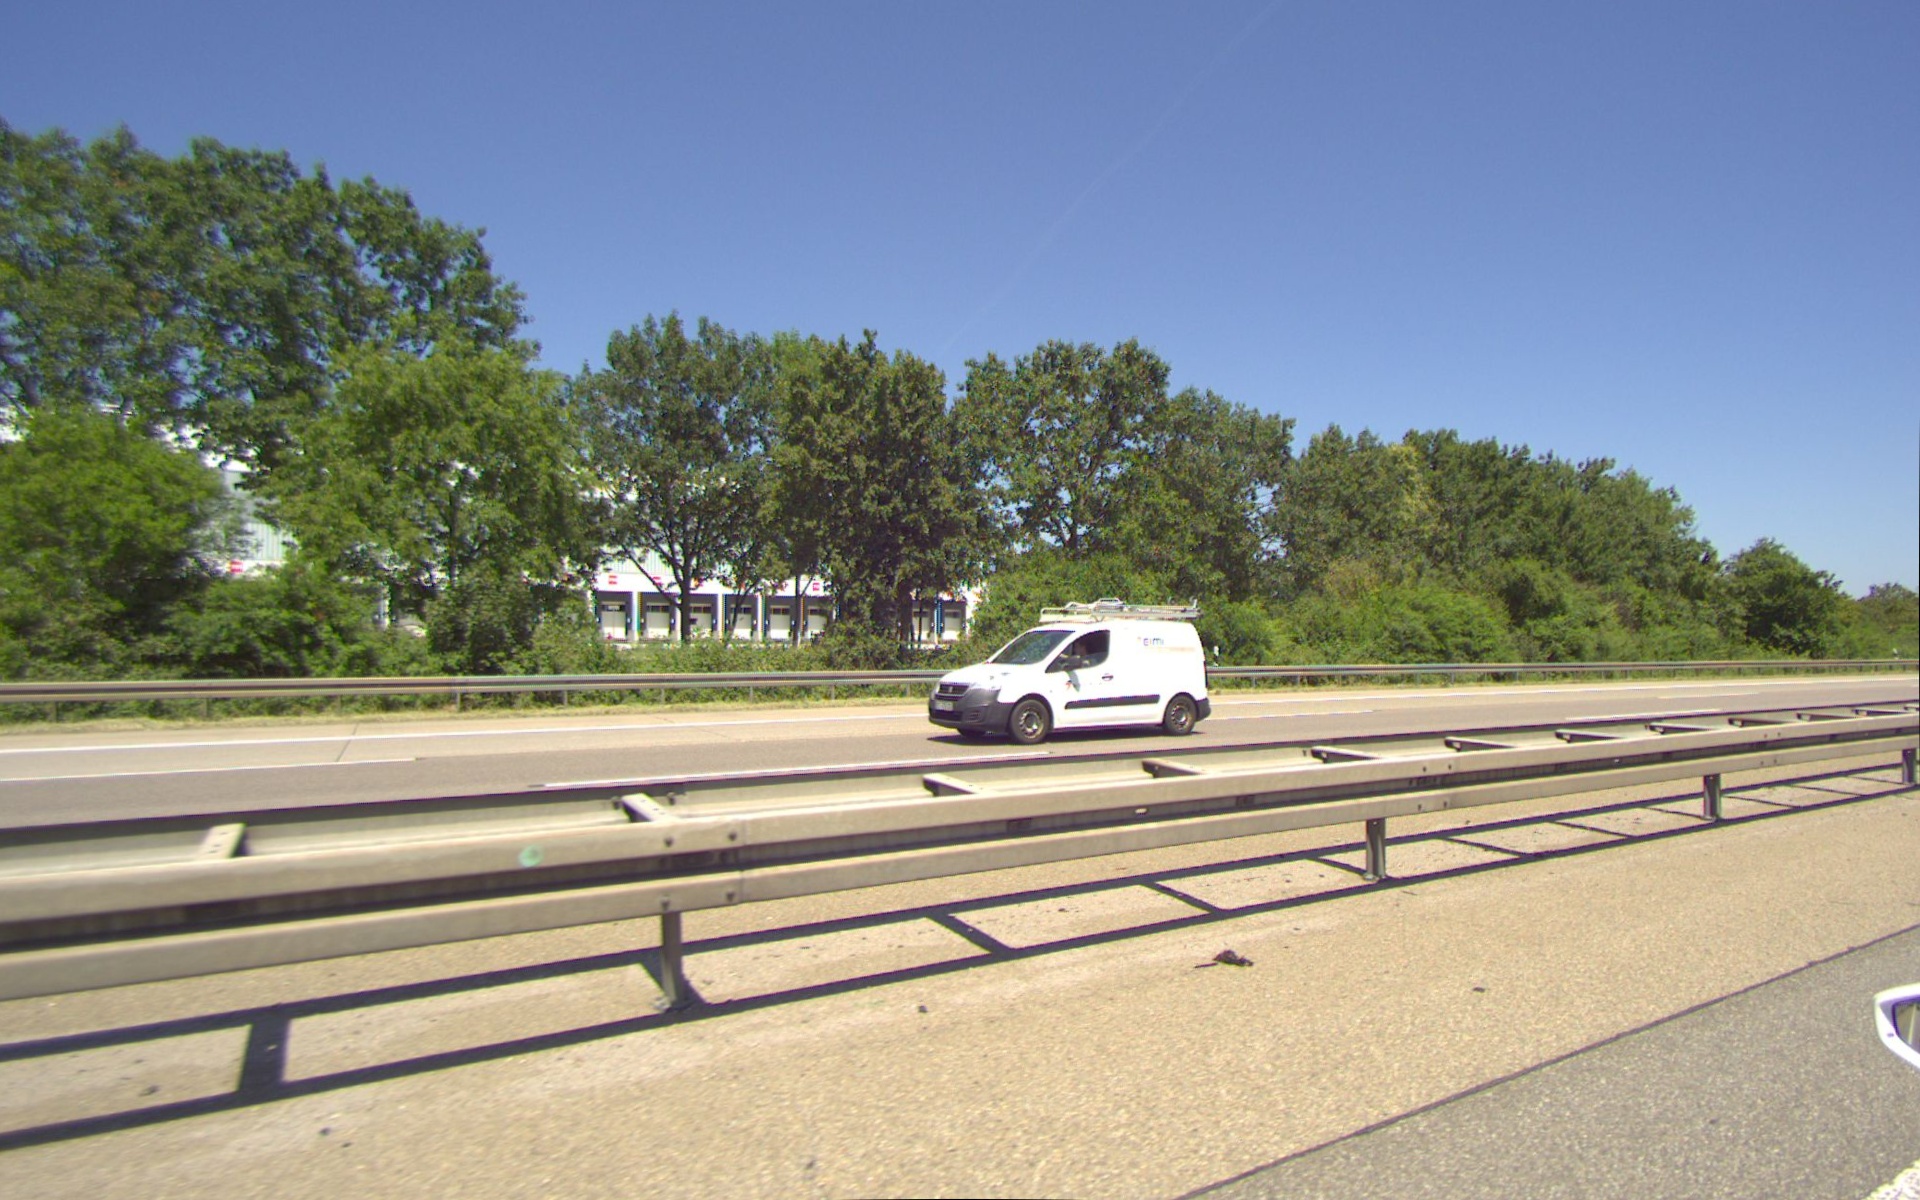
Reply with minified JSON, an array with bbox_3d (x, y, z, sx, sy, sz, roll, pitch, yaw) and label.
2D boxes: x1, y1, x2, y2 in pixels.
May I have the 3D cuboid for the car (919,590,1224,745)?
[{"bbox_3d":[1.710,0.994,15.026,4.327,2.040,1.781,2,-4,-30],"label":"car"}]
